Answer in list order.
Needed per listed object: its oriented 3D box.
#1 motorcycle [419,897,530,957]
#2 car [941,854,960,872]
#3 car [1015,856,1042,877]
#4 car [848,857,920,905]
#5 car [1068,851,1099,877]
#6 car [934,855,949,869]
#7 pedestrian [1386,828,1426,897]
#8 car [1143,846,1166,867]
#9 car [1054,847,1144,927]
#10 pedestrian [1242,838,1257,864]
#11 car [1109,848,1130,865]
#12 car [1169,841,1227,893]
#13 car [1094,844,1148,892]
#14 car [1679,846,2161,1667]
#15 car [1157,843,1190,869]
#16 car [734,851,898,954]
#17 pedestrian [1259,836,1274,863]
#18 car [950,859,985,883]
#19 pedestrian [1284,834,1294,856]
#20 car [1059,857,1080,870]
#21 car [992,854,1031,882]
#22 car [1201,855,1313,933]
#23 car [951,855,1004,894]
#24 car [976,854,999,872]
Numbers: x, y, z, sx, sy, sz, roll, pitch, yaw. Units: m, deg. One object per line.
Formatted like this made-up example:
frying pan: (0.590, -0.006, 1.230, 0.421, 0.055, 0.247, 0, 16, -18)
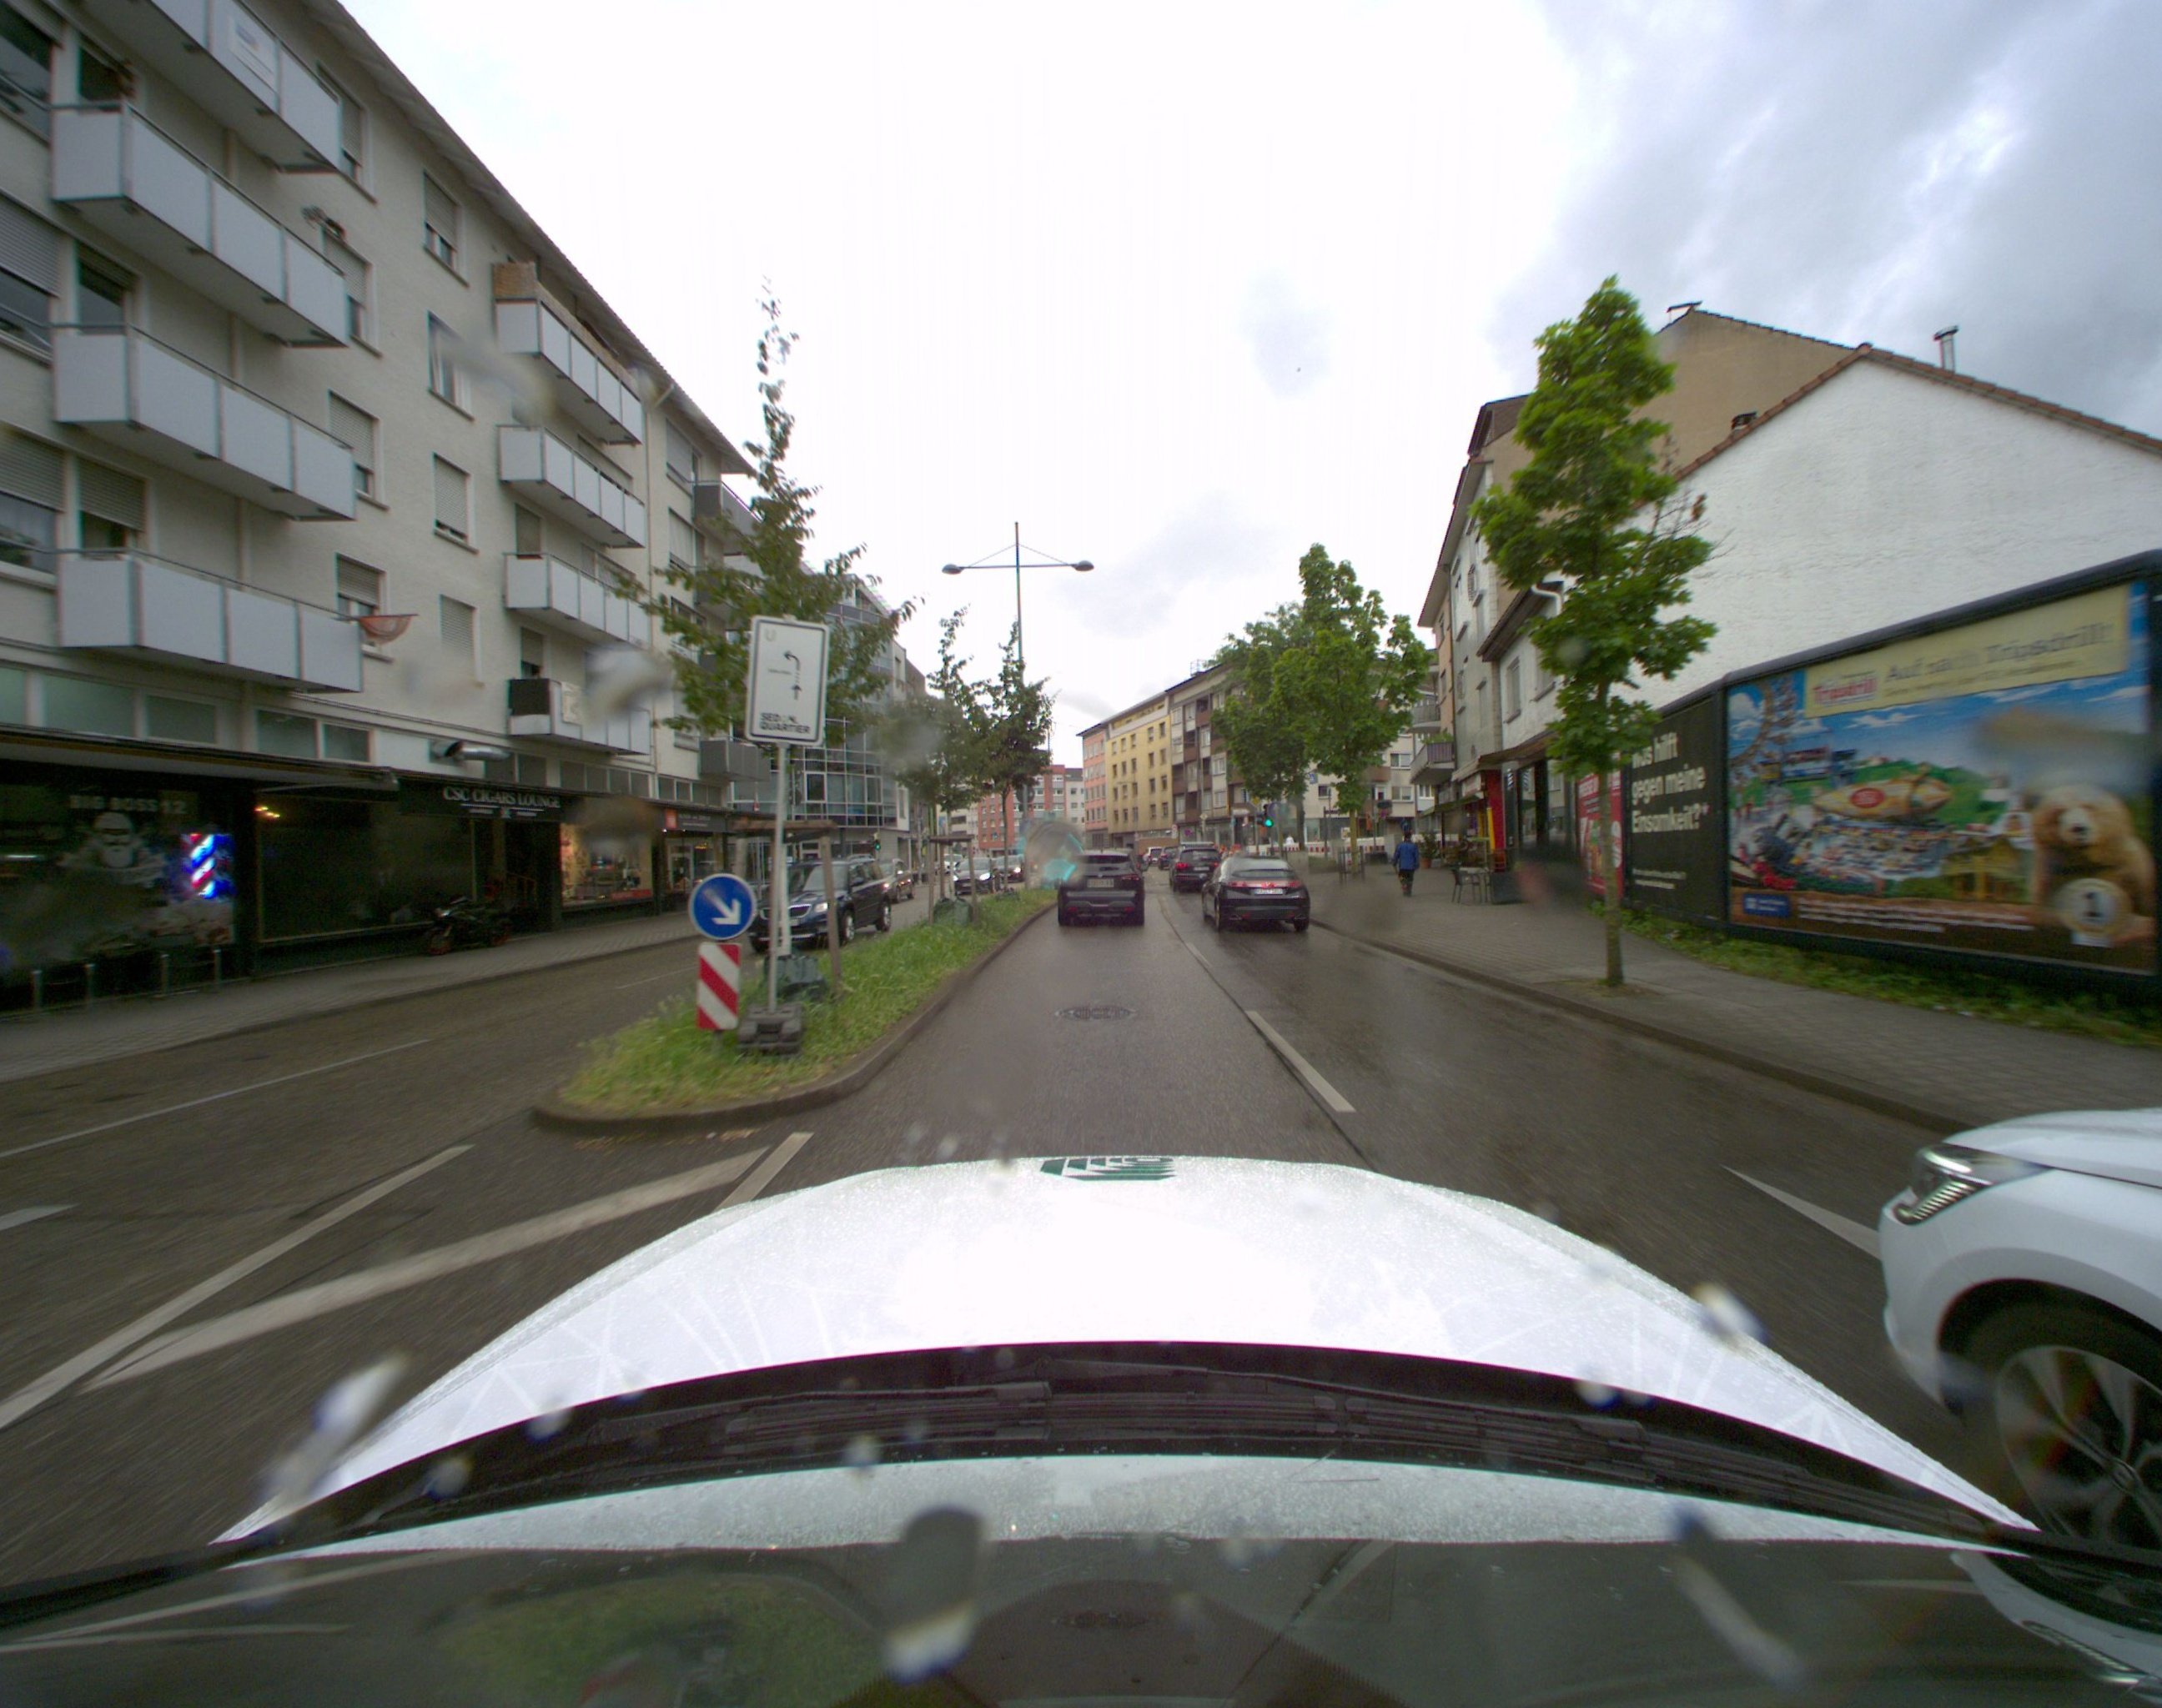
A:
motorcycle: (-11.947, 1.399, 16.132, 0.523, 0.995, 2.138, 0, 0, 2)
car: (-11.490, 0.804, 71.724, 1.549, 1.570, 3.338, 0, -1, -8)
car: (-3.697, 0.866, 58.025, 1.635, 1.321, 3.348, -3, 0, 0)
car: (-7.365, 0.955, 30.848, 1.627, 1.591, 3.937, -4, 0, 1)
car: (0.129, 0.552, 47.258, 1.636, 1.381, 3.347, -3, 0, 0)
car: (-14.697, 0.864, 85.732, 1.455, 1.430, 3.358, 0, 1, -10)
pedestrian: (8.587, 0.219, 21.536, 0.785, 1.755, 0.875, -3, 0, 14)
car: (6.040, 0.199, 66.772, 1.822, 1.683, 3.724, 0, 1, 5)
car: (0.421, 0.660, 18.252, 1.816, 1.600, 3.720, 0, 0, 2)
pedestrian: (12.932, -0.241, 62.394, 0.824, 2.013, 0.835, 0, 0, -18)
car: (3.417, 0.179, 72.265, 1.636, 1.381, 3.347, -3, 0, 0)
car: (4.318, 0.437, 30.540, 1.823, 1.805, 3.721, 0, 1, 3)
car: (1.394, 0.482, 29.163, 1.816, 1.600, 3.720, 0, 0, 2)
car: (2.742, 0.750, 0.673, 1.659, 1.396, 3.868, -3, 1, 1)
car: (5.758, 0.115, 51.167, 1.823, 1.562, 3.721, 0, 1, 3)
car: (-5.009, 0.835, 16.003, 1.677, 1.661, 4.097, -4, 0, 1)
pedestrian: (14.104, -0.352, 61.948, 0.821, 2.013, 0.837, 0, 0, -8)
car: (-6.759, 0.979, 48.683, 1.544, 1.290, 3.348, -3, 0, 1)
pedestrian: (16.405, -0.713, 64.264, 0.531, 1.769, 0.617, 0, 0, -29)
car: (-1.283, 1.051, 88.873, 1.642, 1.344, 3.334, -3, 0, -12)
car: (-3.760, 0.757, 44.415, 1.665, 1.370, 3.753, -3, 0, 1)
car: (3.504, 0.737, 16.823, 1.778, 1.400, 3.723, -1, 0, 5)
car: (-4.200, 0.810, 33.661, 1.527, 1.412, 3.937, -4, 0, 1)
car: (-8.439, 0.839, 73.618, 1.636, 1.490, 3.346, -3, 0, -2)
